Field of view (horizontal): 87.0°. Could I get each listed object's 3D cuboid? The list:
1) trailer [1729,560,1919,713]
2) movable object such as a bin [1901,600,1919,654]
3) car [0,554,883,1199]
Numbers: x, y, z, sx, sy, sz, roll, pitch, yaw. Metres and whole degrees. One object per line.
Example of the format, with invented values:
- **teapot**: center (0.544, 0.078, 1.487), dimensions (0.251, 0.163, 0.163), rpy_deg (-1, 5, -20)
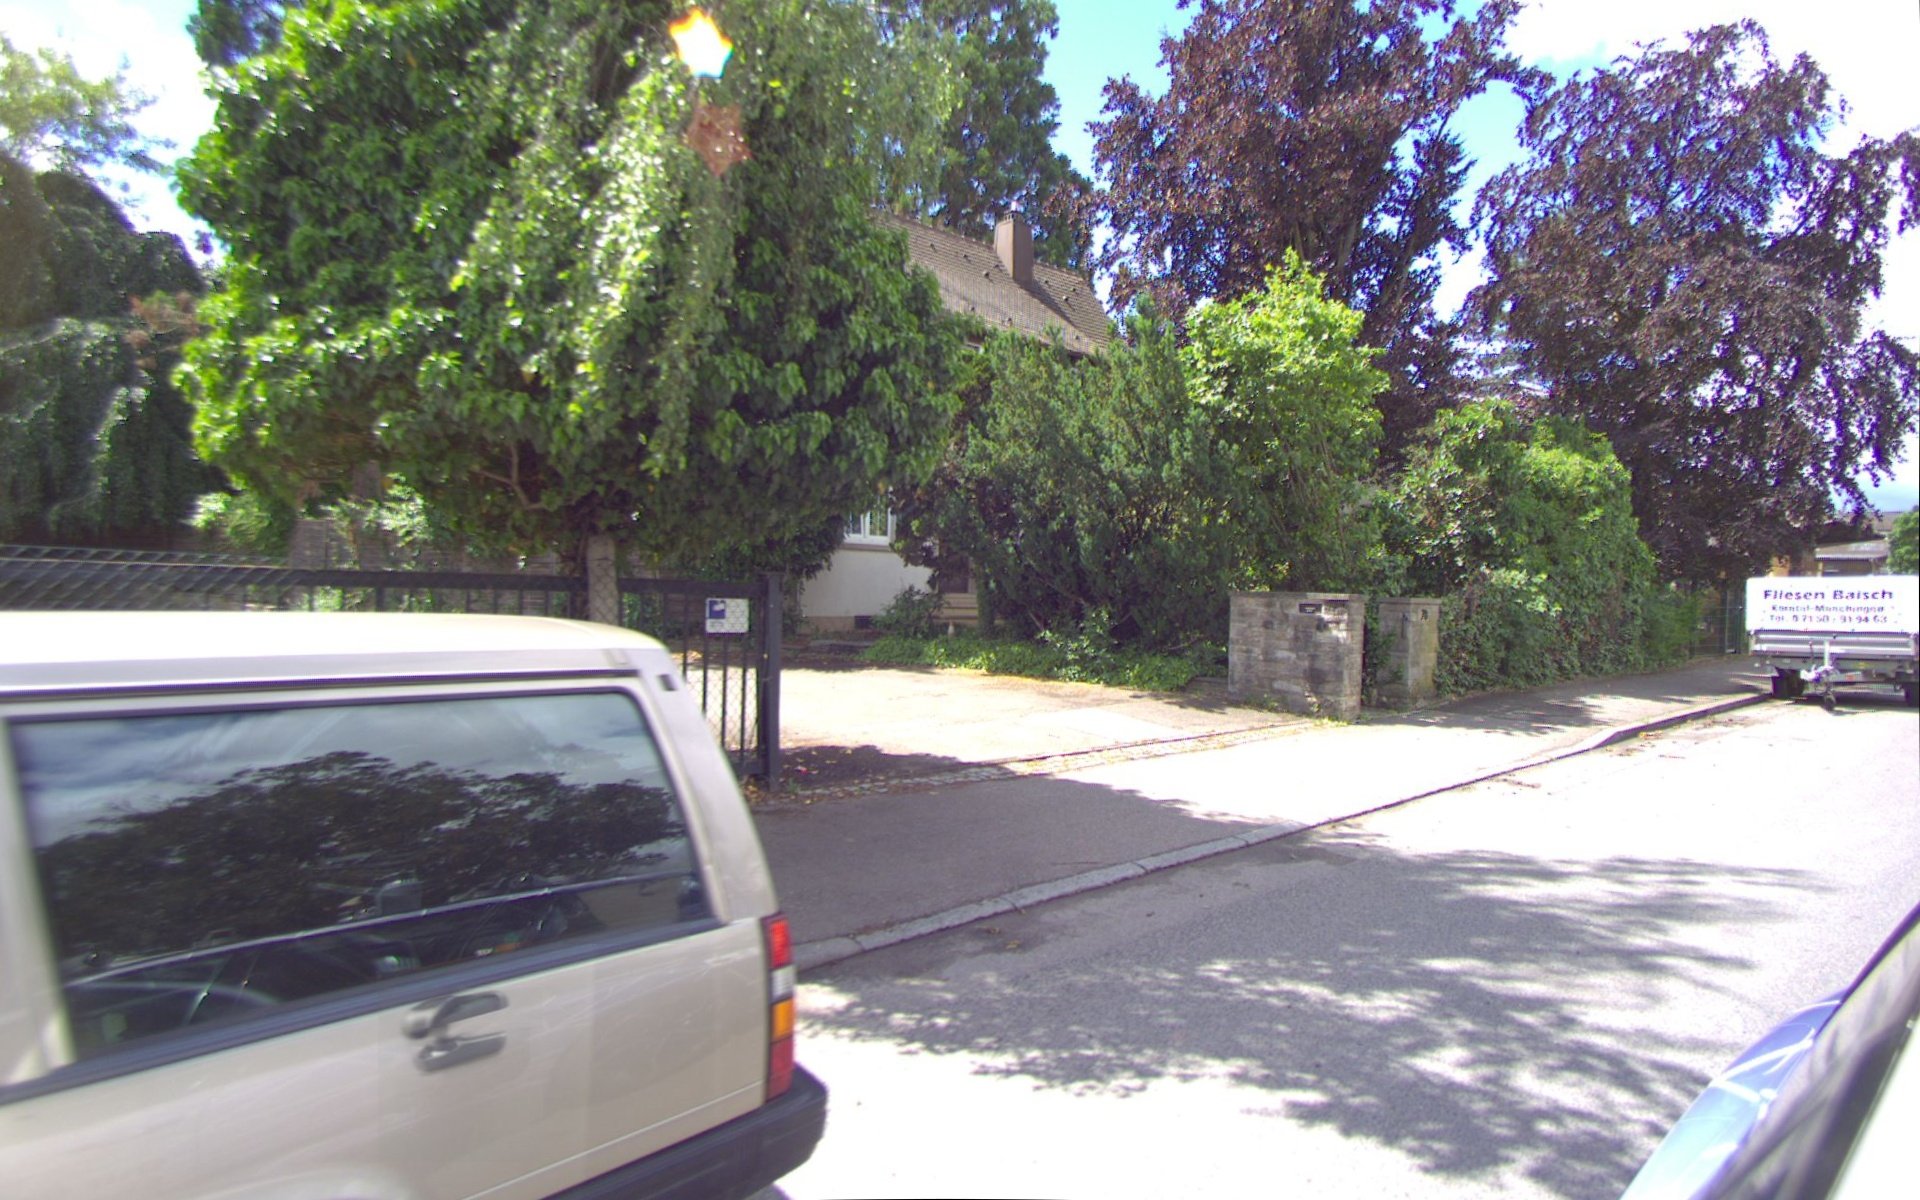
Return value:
- **trailer**: center (12.781, 0.428, 14.405), dimensions (4.681, 1.846, 1.997), rpy_deg (0, 0, -41)
- **movable object such as a bin**: center (23.871, 0.671, 24.665), dimensions (1.332, 1.307, 1.117), rpy_deg (0, 2, -36)
- **car**: center (-2.575, 0.690, 1.029), dimensions (4.906, 1.469, 1.758), rpy_deg (0, 0, -40)
